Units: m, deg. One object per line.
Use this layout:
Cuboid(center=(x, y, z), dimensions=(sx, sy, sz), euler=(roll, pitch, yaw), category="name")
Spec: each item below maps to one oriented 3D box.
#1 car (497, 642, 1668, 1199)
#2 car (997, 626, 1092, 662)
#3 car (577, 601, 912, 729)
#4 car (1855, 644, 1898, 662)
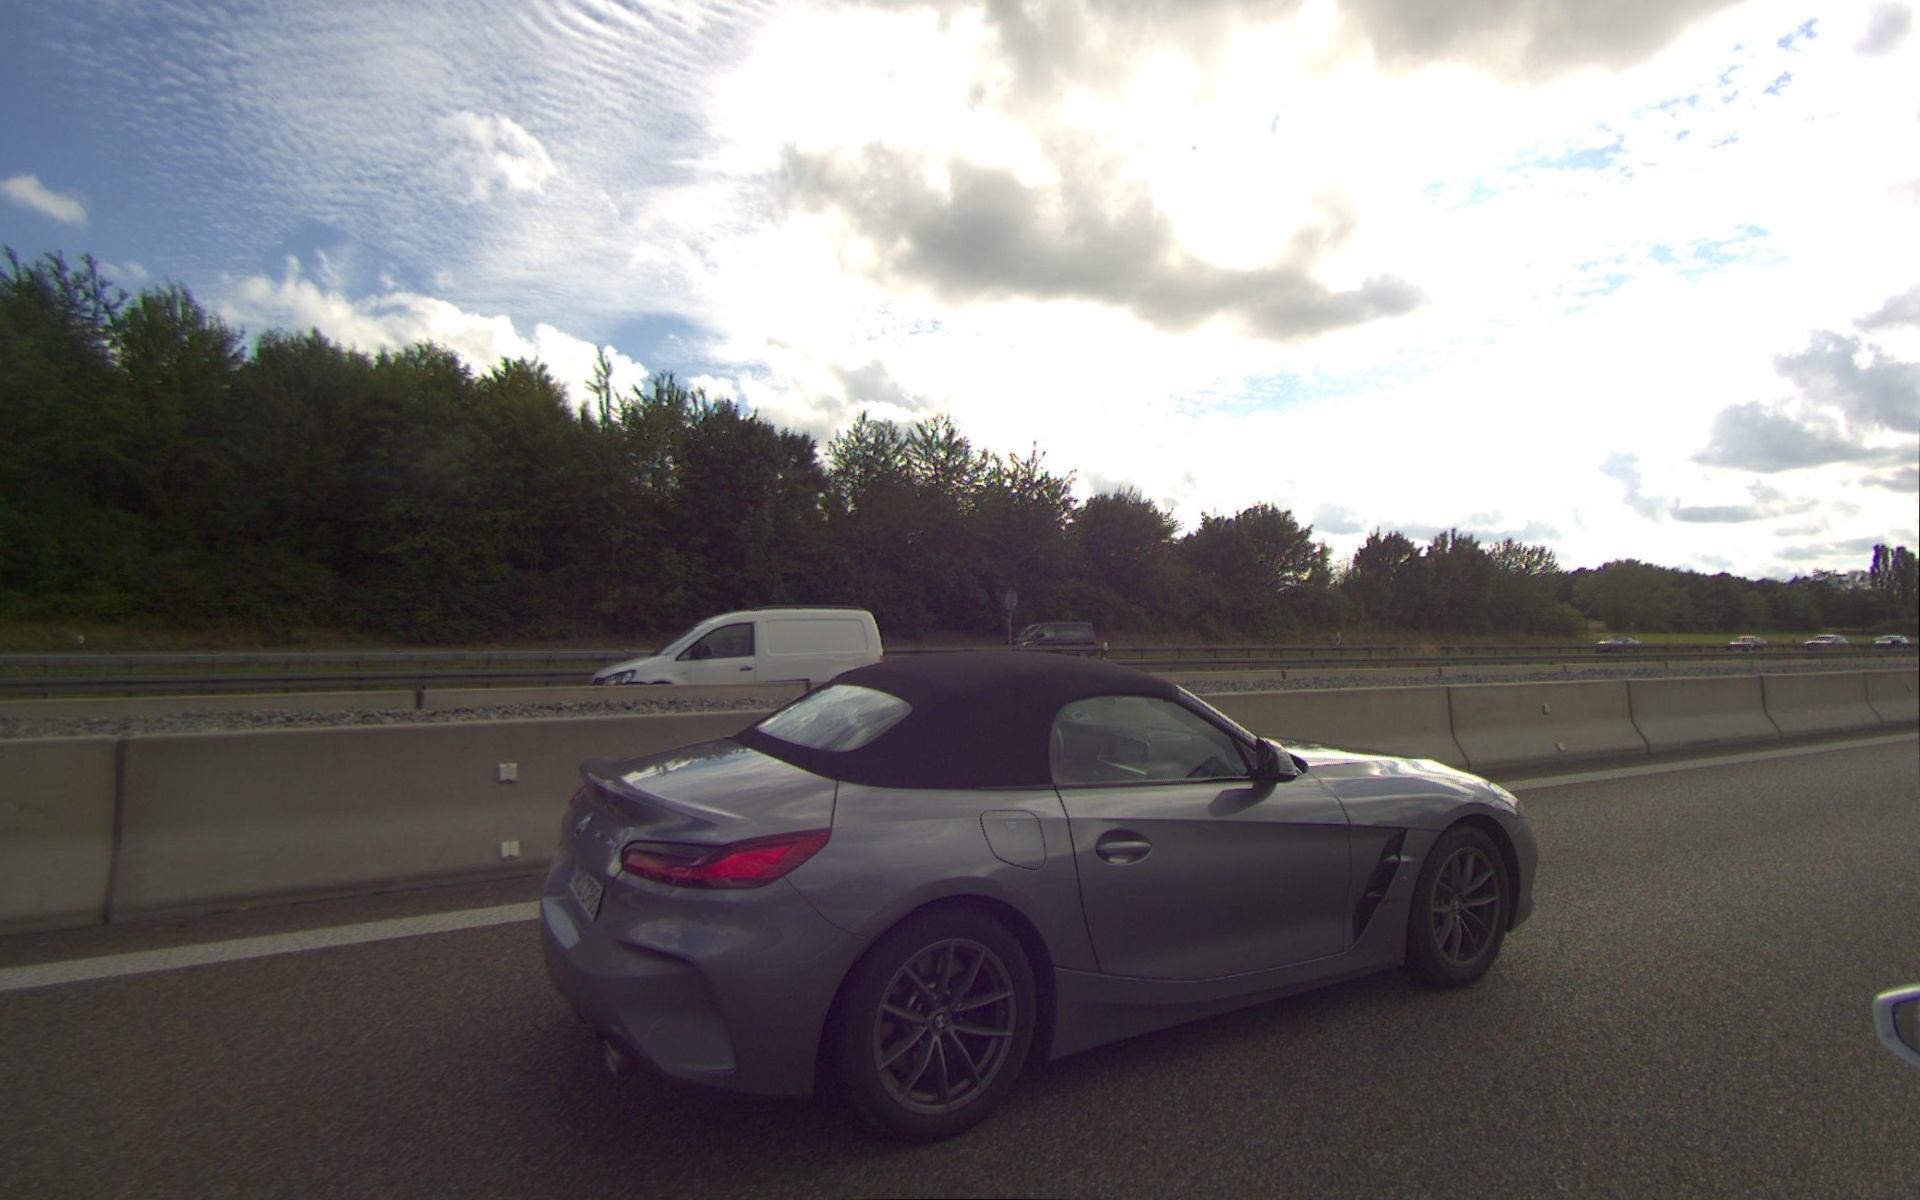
Cuboid(center=(0.788, 0.876, 4.304), dimensions=(4.885, 1.320, 1.864), euler=(1, -1, -31), category="car")
Cuboid(center=(4.131, 2.150, 49.081), dimensions=(4.367, 1.684, 1.873), euler=(1, -2, -30), category="car")
Cuboid(center=(-3.405, 0.986, 16.339), dimensions=(5.067, 1.818, 1.724), euler=(1, -1, -31), category="car")
Cuboid(center=(83.801, 4.793, 91.818), dimensions=(4.400, 1.554, 1.720), euler=(2, -1, -31), category="car")
